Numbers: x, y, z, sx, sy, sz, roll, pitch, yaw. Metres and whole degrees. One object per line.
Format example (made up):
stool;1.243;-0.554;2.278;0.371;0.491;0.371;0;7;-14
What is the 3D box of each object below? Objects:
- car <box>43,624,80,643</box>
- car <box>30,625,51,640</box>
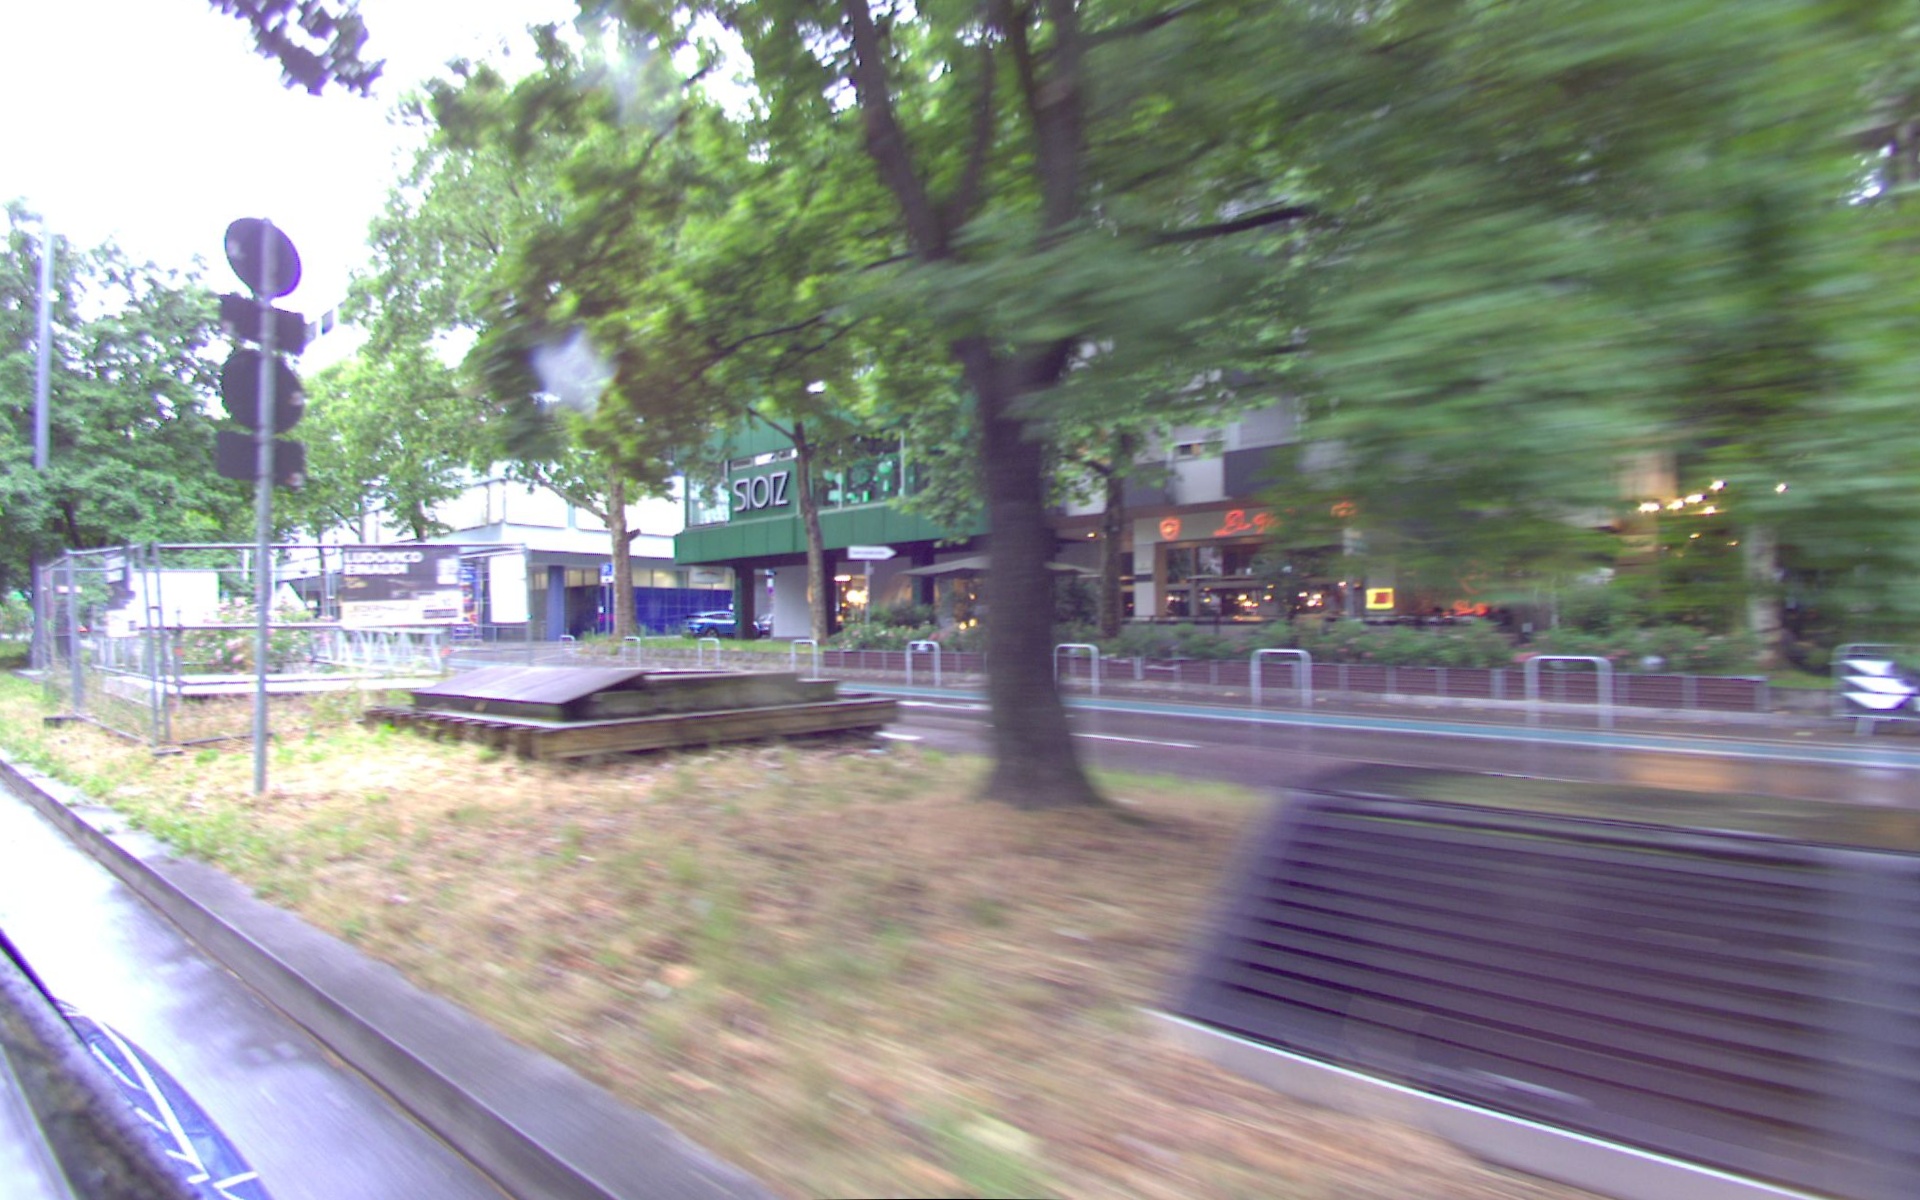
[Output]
car;-72.645;2.700;81.828;1.970;1.503;4.759;3;-4;-44
car;-87.284;3.079;96.059;3.561;1.473;1.148;-2;-2;43
